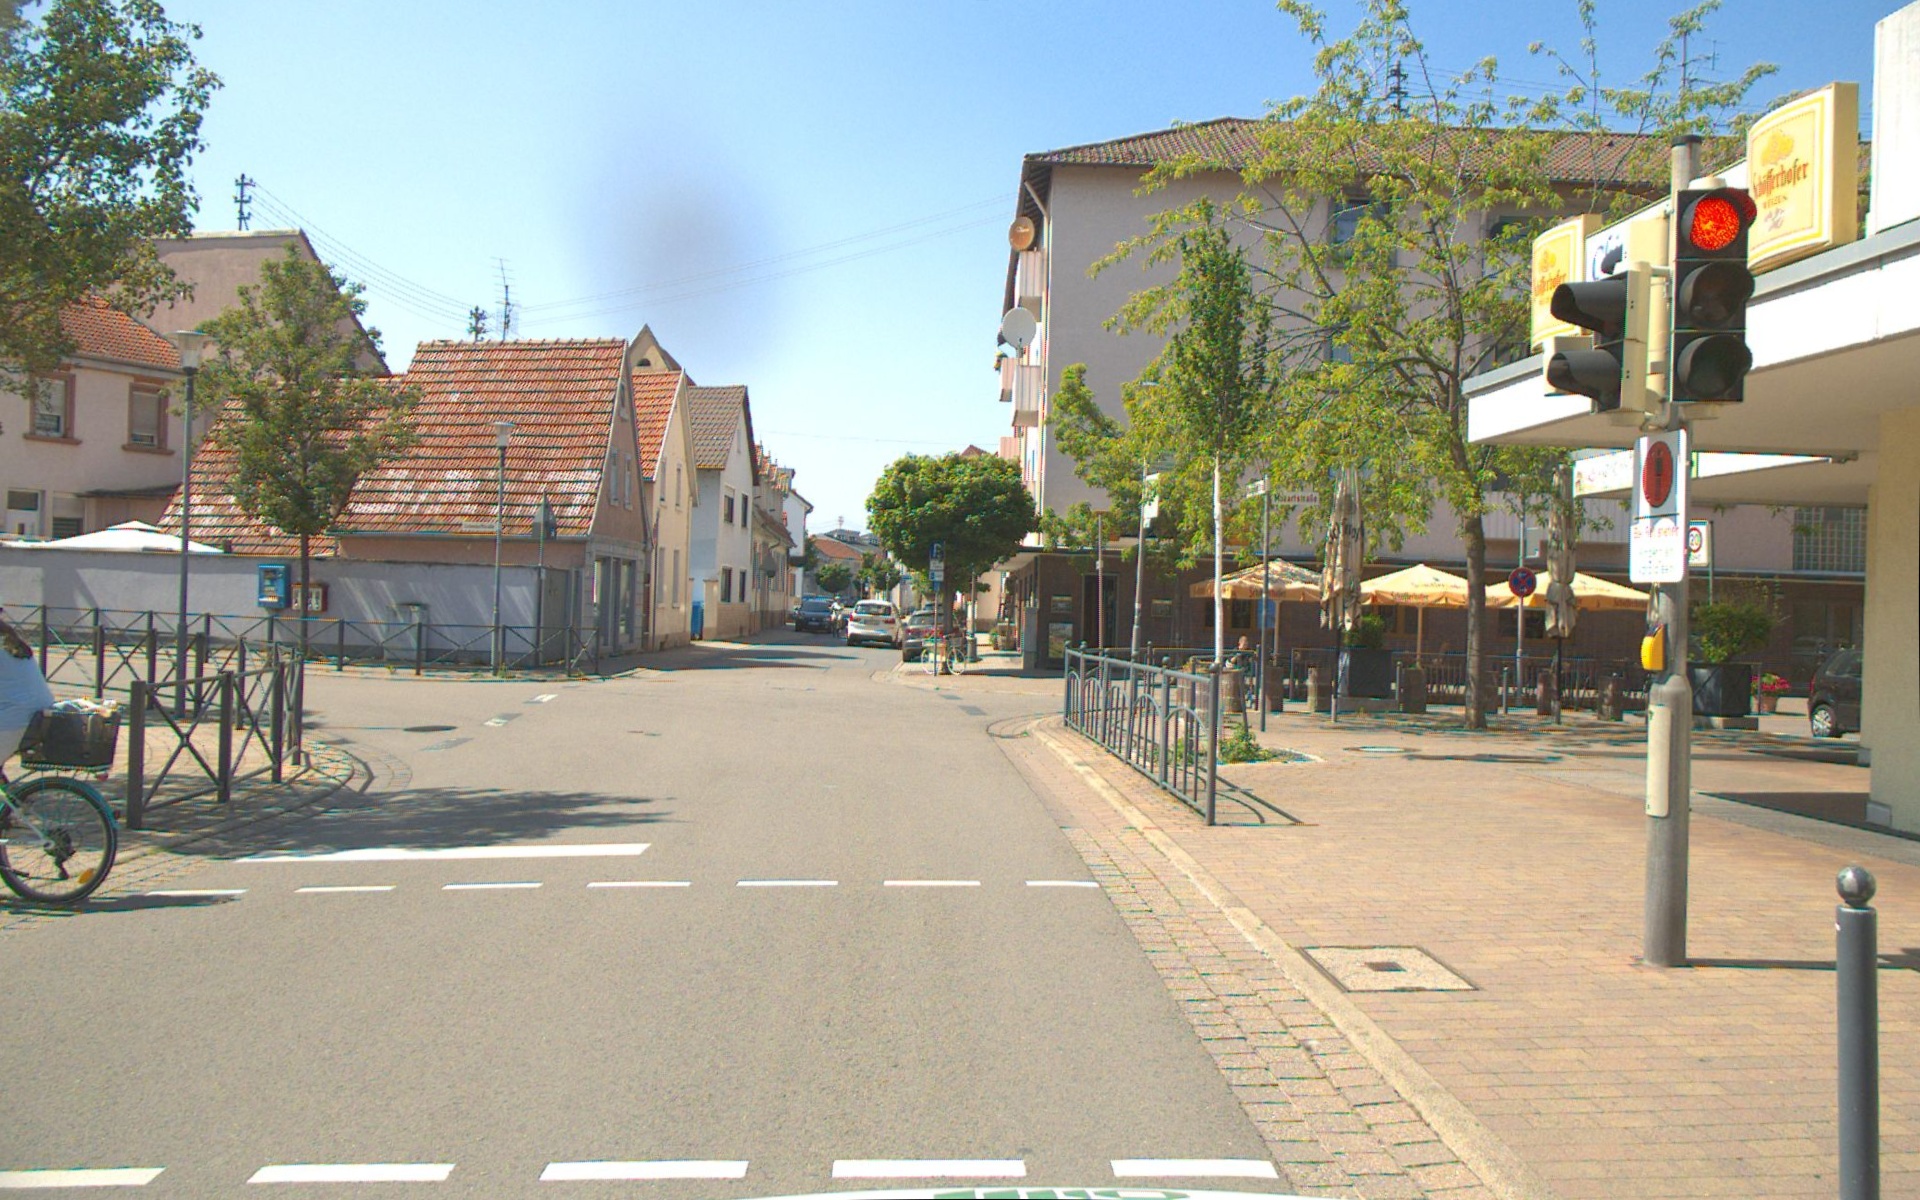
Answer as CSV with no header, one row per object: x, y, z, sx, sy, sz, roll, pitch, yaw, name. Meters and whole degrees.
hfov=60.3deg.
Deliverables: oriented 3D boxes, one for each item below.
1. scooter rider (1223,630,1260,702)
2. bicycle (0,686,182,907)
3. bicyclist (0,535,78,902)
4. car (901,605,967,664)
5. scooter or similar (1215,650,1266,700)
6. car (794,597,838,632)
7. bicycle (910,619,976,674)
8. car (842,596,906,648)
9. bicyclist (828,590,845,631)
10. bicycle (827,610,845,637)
5.182,1.208,30.447,0.513,1.308,0.412,2,-1,-41,scooter rider
-4.837,0.931,7.953,1.851,0.974,0.676,0,0,-2,bicycle
-4.798,0.549,7.957,0.743,1.693,0.671,0,0,-1,bicyclist
-0.697,0.961,47.488,1.768,1.528,4.000,2,0,0,car
5.168,1.374,30.449,0.376,0.889,0.877,2,-1,-41,scooter or similar
-6.770,0.688,78.094,1.679,1.543,3.786,2,0,0,car
-0.403,1.084,38.719,0.523,1.214,1.648,2,-1,-44,bicycle
-3.028,0.760,58.918,1.796,1.680,4.001,3,0,2,car
-5.282,0.451,70.635,0.655,1.720,0.761,1,-1,-1,bicyclist
-5.281,0.983,70.636,0.660,1.113,1.895,0,0,-1,bicycle
